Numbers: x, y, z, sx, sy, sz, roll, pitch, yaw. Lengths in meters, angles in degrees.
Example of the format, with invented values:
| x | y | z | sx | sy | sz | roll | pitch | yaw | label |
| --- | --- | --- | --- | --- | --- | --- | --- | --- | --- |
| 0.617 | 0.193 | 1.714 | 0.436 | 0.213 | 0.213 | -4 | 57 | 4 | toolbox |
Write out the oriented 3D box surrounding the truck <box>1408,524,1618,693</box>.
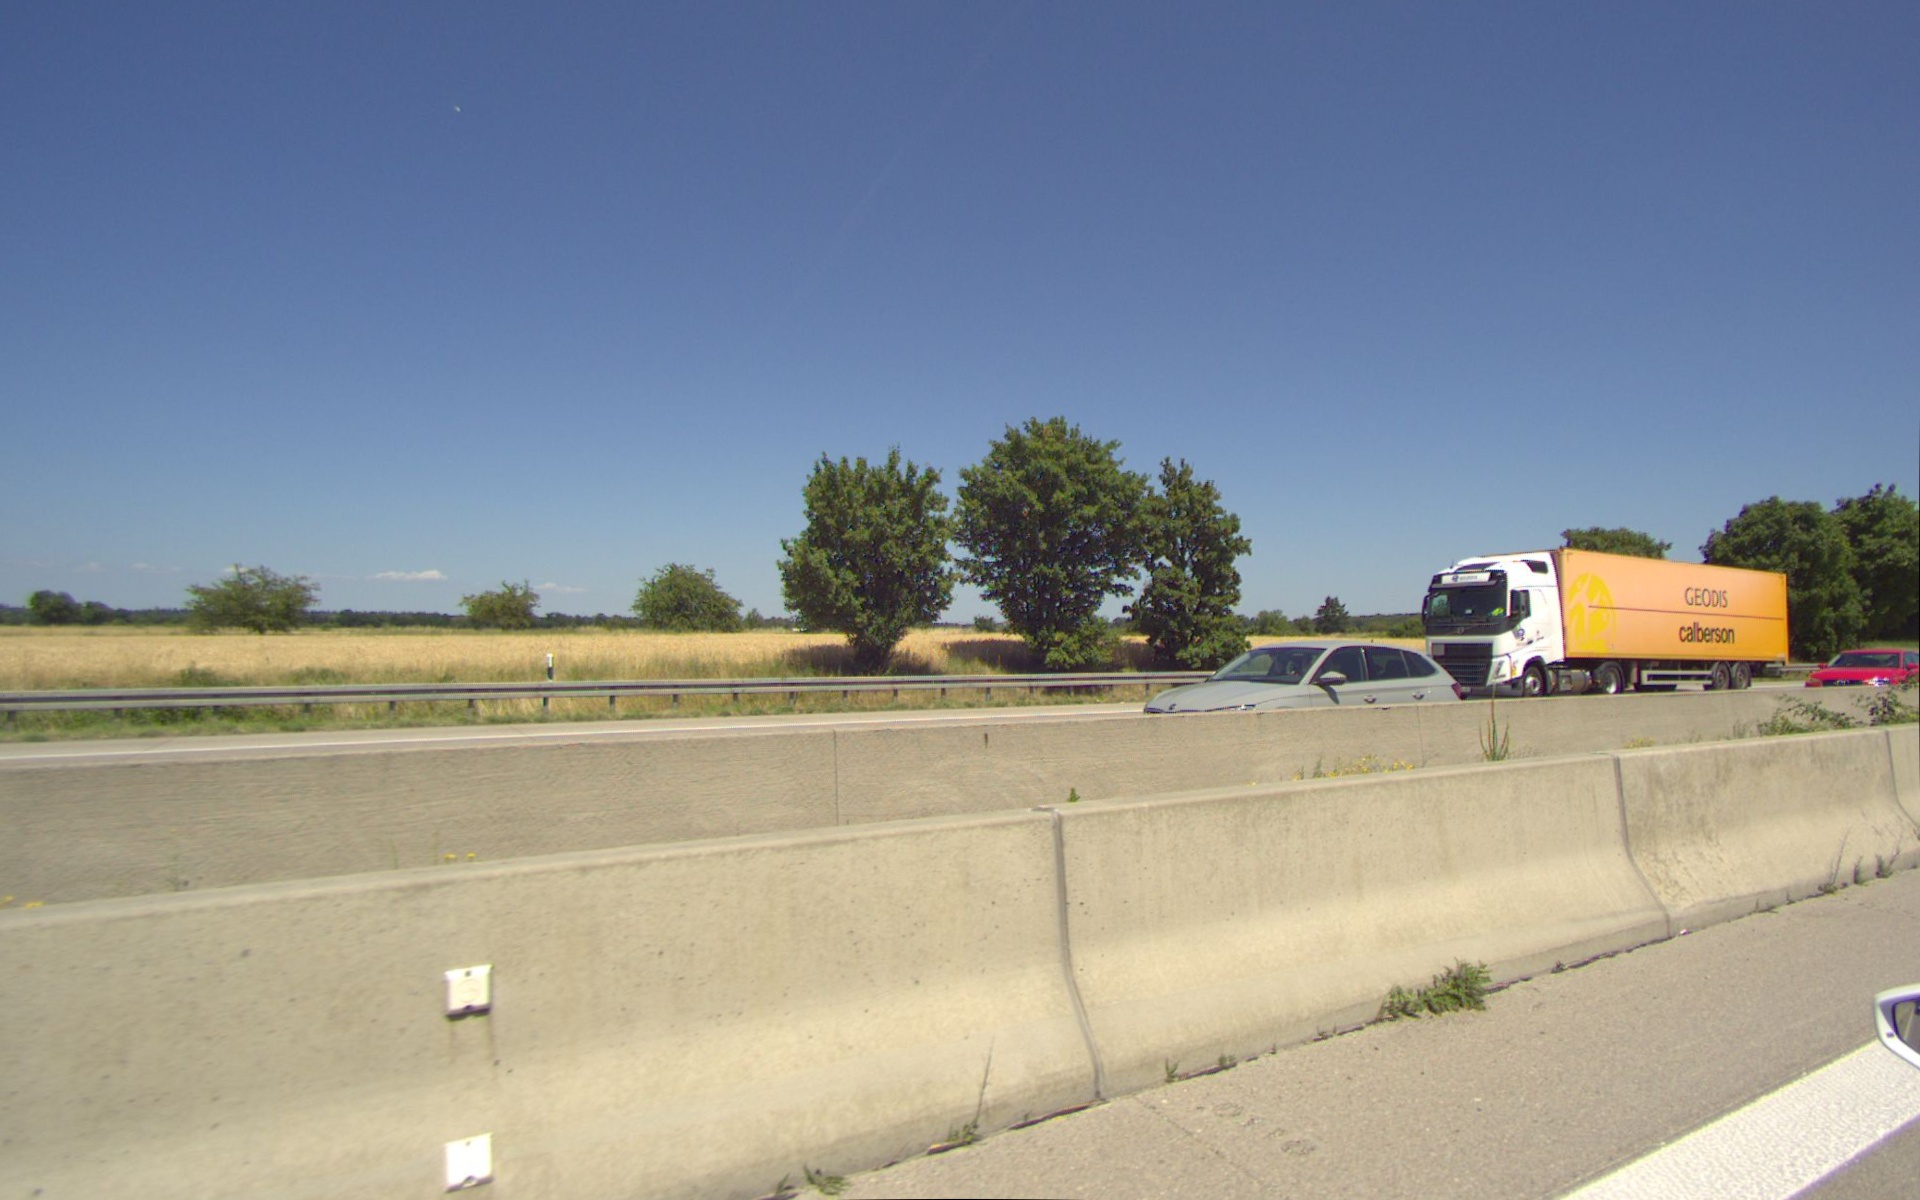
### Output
| x | y | z | sx | sy | sz | roll | pitch | yaw | label |
| --- | --- | --- | --- | --- | --- | --- | --- | --- | --- |
| 15.356 | 0.329 | 27.885 | 5.169 | 4.250 | 2.855 | 2 | -3 | -31 | truck |

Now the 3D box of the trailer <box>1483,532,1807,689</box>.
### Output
| x | y | z | sx | sy | sz | roll | pitch | yaw | label |
| --- | --- | --- | --- | --- | --- | --- | --- | --- | --- |
| 22.169 | 0.506 | 31.988 | 13.977 | 4.253 | 2.859 | 2 | -3 | -31 | trailer |

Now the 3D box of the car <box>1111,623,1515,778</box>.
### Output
| x | y | z | sx | sy | sz | roll | pitch | yaw | label |
| --- | --- | --- | --- | --- | --- | --- | --- | --- | --- |
| 4.212 | 1.047 | 11.813 | 4.655 | 1.504 | 1.984 | 1 | -2 | -31 | car |

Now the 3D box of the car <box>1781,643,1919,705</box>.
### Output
| x | y | z | sx | sy | sz | roll | pitch | yaw | label |
| --- | --- | --- | --- | --- | --- | --- | --- | --- | --- |
| 22.889 | 1.806 | 25.277 | 4.662 | 1.412 | 1.984 | 1 | -3 | -31 | car |
